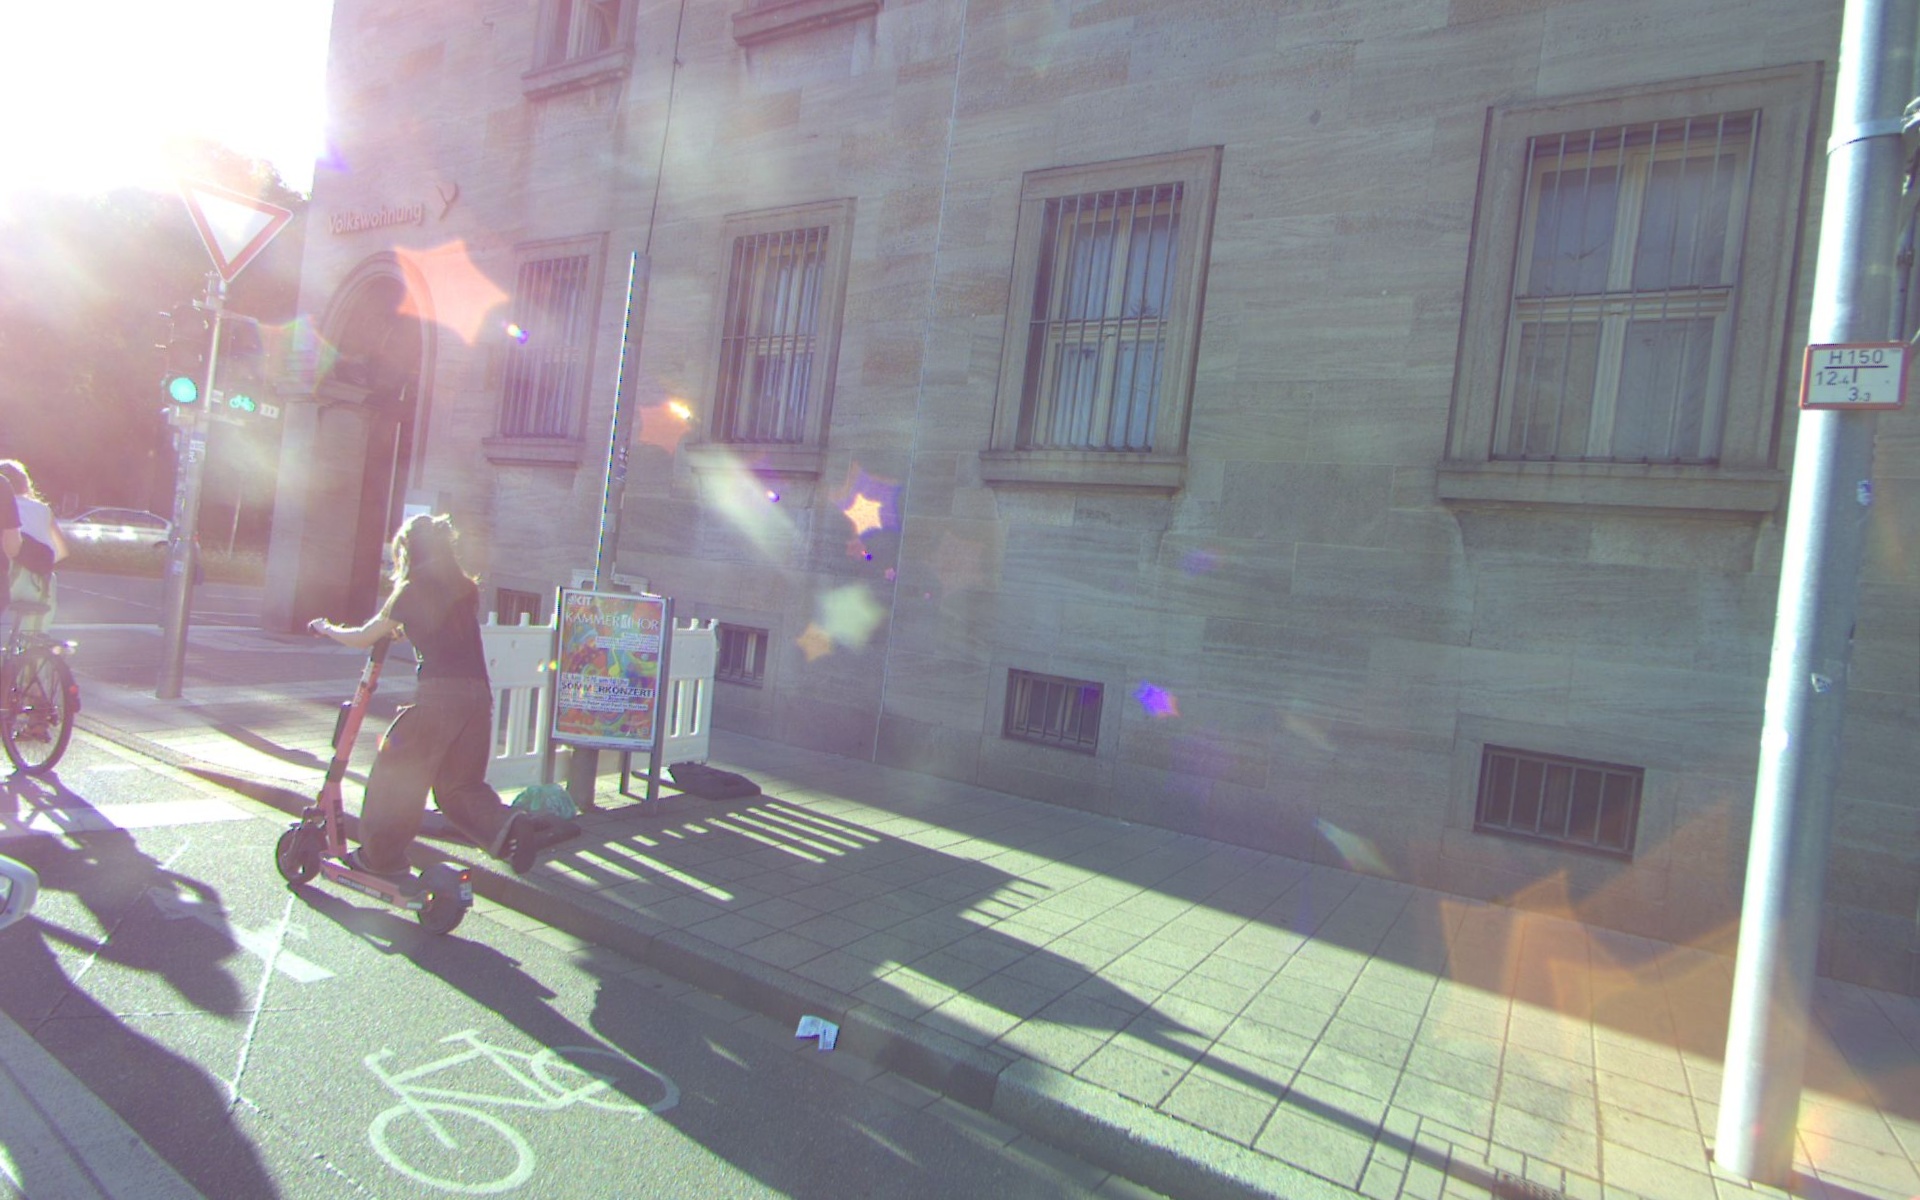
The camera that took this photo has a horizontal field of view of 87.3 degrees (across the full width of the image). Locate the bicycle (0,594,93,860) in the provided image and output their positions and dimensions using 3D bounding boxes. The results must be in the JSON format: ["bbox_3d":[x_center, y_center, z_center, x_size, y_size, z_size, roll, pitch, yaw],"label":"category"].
[{"bbox_3d":[-4.774,0.463,4.461,1.715,1.057,0.625,7,0,22],"label":"bicycle"}]

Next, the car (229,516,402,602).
[{"bbox_3d":[-20.278,-1.254,31.802,1.968,2.037,3.994,6,-2,33],"label":"car"}]

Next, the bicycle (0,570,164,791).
[{"bbox_3d":[-5.574,0.400,5.871,1.715,1.057,0.584,7,0,21],"label":"bicycle"}]

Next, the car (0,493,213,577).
[{"bbox_3d":[-23.479,-1.743,27.347,1.967,1.533,4.586,6,-2,32],"label":"car"}]

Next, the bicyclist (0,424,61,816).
[{"bbox_3d":[-4.705,0.043,4.446,0.896,1.736,0.625,7,0,22],"label":"bicyclist"}]

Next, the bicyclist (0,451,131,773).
[{"bbox_3d":[-5.556,0.039,5.868,0.932,1.760,0.585,7,0,20],"label":"bicyclist"}]

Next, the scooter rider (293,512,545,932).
[{"bbox_3d":[-2.251,0.477,4.216,0.566,1.581,0.546,7,0,25],"label":"scooter rider"}]

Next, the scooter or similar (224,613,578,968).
[{"bbox_3d":[-2.330,0.719,4.190,1.249,1.163,0.574,7,0,26],"label":"scooter or similar"}]
